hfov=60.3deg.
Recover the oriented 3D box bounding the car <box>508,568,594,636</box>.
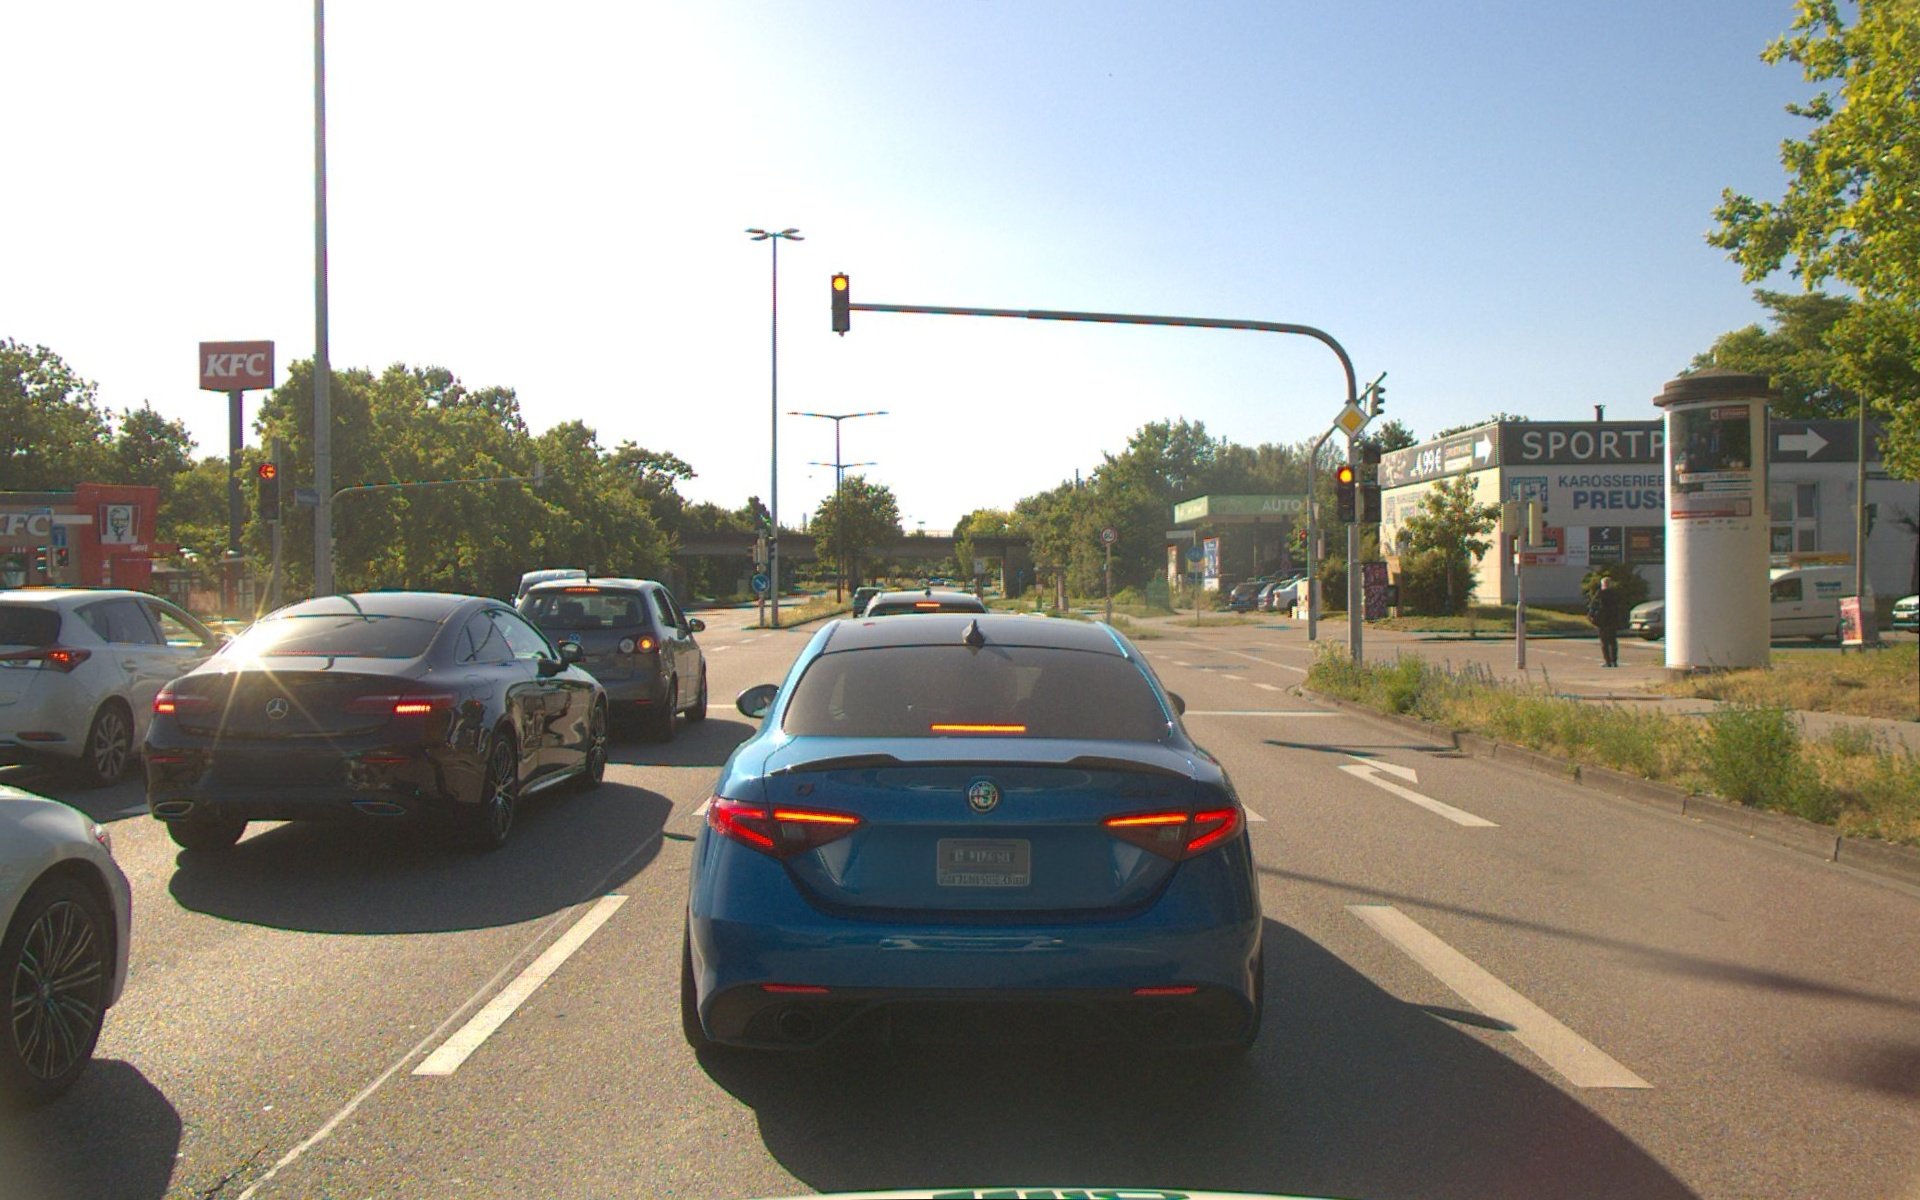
[{"bbox_3d":[-16.379,0.068,66.559,1.981,2.489,5.820,-3,0,-1],"label":"car"}]

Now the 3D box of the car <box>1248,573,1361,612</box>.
[{"bbox_3d":[14.635,-0.304,70.329,4.397,1.479,1.858,-2,0,1],"label":"car"}]

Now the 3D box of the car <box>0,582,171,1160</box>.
[{"bbox_3d":[-3.340,0.692,3.050,1.749,1.516,4.401,1,0,-2],"label":"car"}]

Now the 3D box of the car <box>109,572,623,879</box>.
[{"bbox_3d":[-3.435,0.642,10.554,1.760,1.516,4.474,1,0,-2],"label":"car"}]

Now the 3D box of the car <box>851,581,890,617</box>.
[{"bbox_3d":[-4.730,-0.056,87.693,1.853,1.847,3.999,1,0,-1],"label":"car"}]

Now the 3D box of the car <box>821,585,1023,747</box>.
[{"bbox_3d":[-0.409,0.606,17.224,1.813,1.443,4.401,1,0,-2],"label":"car"}]

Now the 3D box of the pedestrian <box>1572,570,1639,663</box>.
[{"bbox_3d":[12.548,0.326,32.163,0.906,1.765,0.938,1,-1,-1],"label":"pedestrian"}]

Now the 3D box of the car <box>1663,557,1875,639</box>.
[{"bbox_3d":[19.536,-0.072,40.037,4.293,1.833,1.764,-1,2,-2],"label":"car"}]

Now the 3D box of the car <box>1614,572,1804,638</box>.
[{"bbox_3d":[19.601,0.107,43.378,4.201,1.576,1.764,-1,2,-2],"label":"car"}]

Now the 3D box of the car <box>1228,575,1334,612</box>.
[{"bbox_3d":[14.406,-0.296,74.376,4.397,1.479,1.858,-2,0,1],"label":"car"}]

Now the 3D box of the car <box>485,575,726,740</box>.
[{"bbox_3d":[-3.620,0.545,17.652,1.723,1.516,4.401,1,0,-2],"label":"car"}]

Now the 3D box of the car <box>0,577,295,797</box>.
[{"bbox_3d":[-7.098,0.598,13.513,1.723,1.516,4.195,1,0,-2],"label":"car"}]

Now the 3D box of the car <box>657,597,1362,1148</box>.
[{"bbox_3d":[0.072,0.738,6.596,1.857,1.443,4.401,1,0,-2],"label":"car"}]

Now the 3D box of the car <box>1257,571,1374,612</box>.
[{"bbox_3d":[14.491,-0.327,67.574,4.397,1.479,1.858,-2,0,1],"label":"car"}]

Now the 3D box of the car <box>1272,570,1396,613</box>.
[{"bbox_3d":[14.614,-0.327,64.797,4.397,1.479,1.858,-2,0,1],"label":"car"}]

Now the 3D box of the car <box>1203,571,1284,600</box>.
[{"bbox_3d":[16.730,-0.859,97.584,4.457,1.516,1.765,-2,0,1],"label":"car"}]

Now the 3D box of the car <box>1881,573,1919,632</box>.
[{"bbox_3d":[26.740,0.014,43.570,3.960,1.516,1.782,-2,0,-3],"label":"car"}]
